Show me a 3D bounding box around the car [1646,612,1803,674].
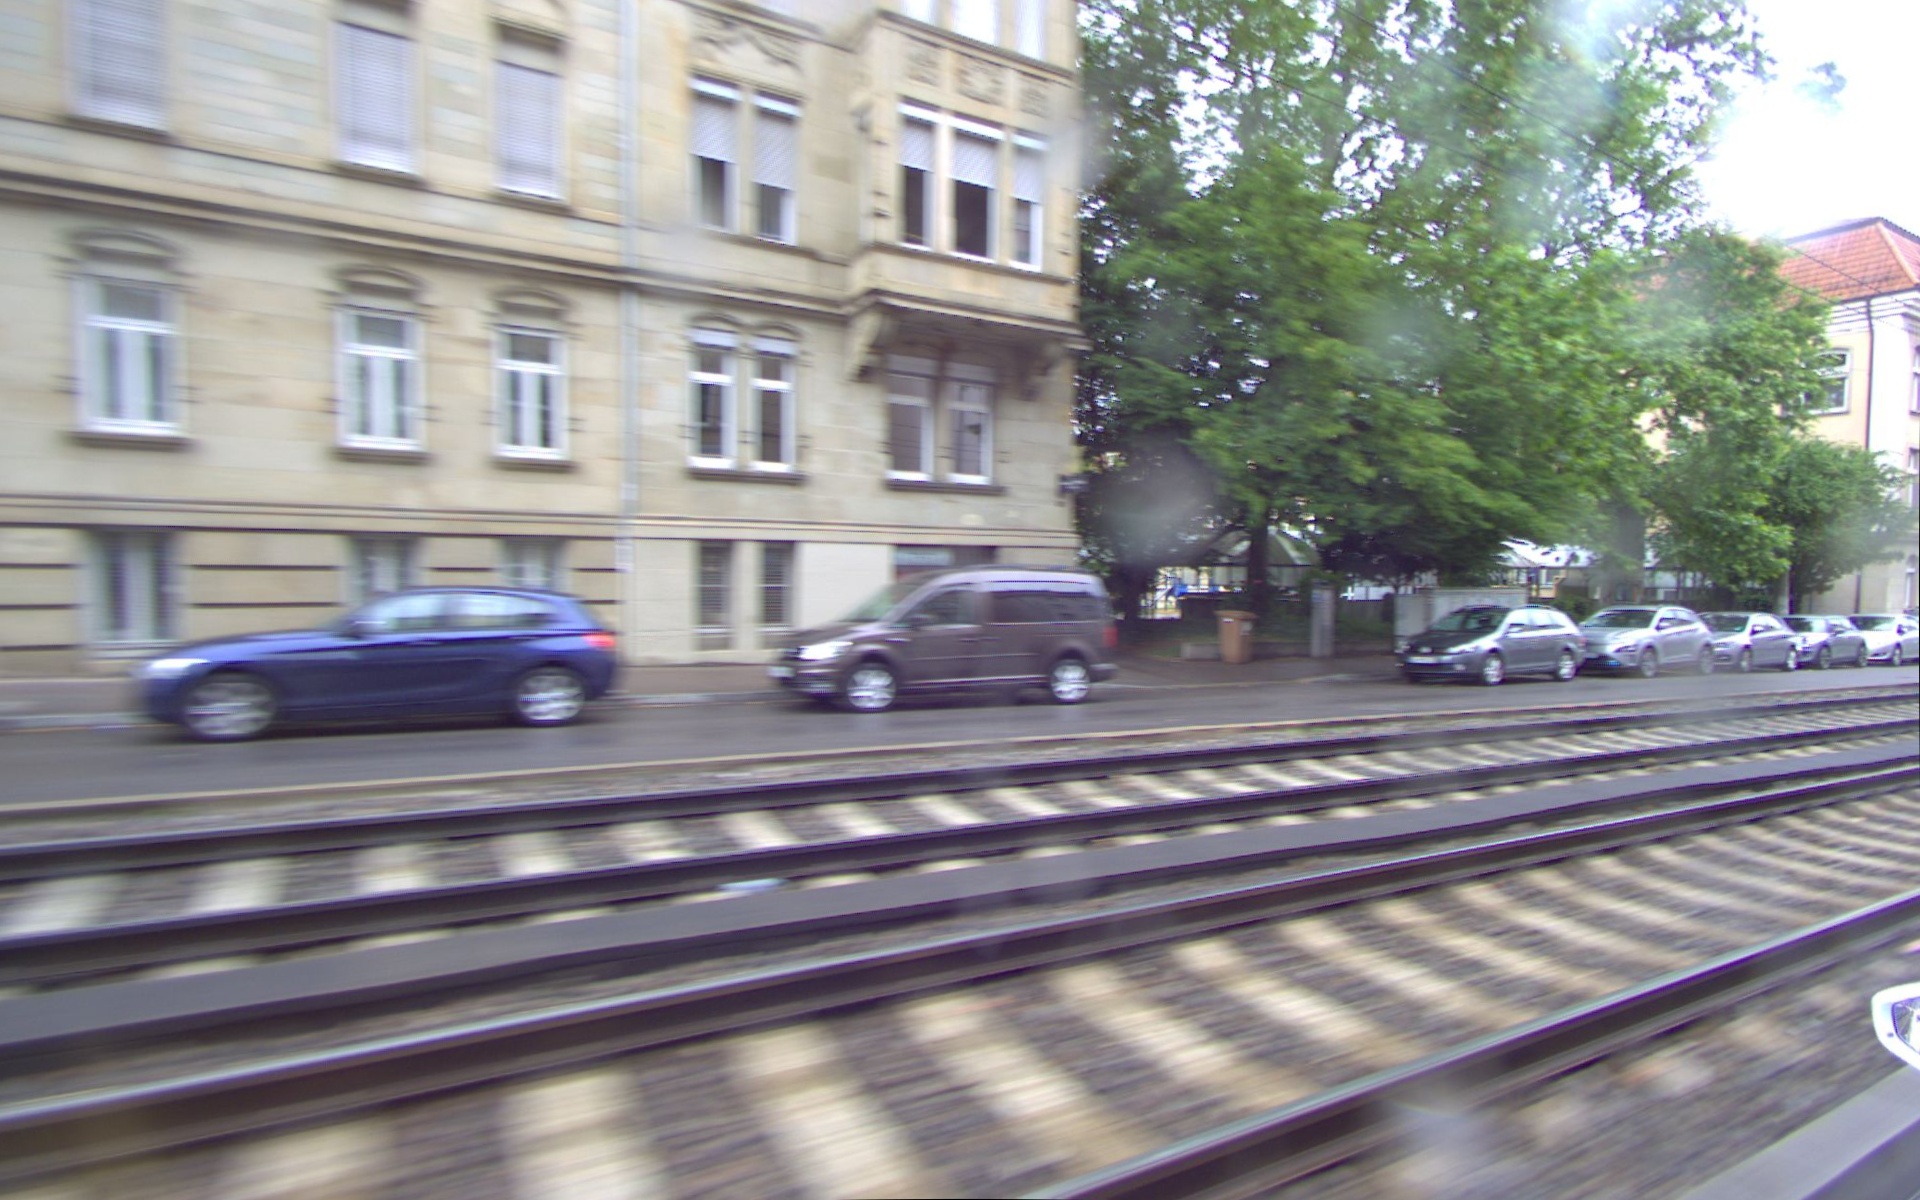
[{"bbox_3d":[19.057,1.051,25.003,4.106,1.432,1.745,1,-2,-31],"label":"car"}]

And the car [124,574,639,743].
[{"bbox_3d":[-5.655,0.530,10.293,4.222,1.416,1.753,1,-1,-32],"label":"car"}]

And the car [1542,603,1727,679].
[{"bbox_3d":[15.156,0.897,22.517,4.491,1.556,1.745,1,-2,-31],"label":"car"}]

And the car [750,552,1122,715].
[{"bbox_3d":[-0.238,0.429,13.523,4.762,1.871,1.792,1,-1,-31],"label":"car"}]

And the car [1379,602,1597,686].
[{"bbox_3d":[10.427,0.843,19.751,4.500,1.483,1.839,1,-2,-32],"label":"car"}]

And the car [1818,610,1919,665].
[{"bbox_3d":[27.410,1.104,29.983,4.107,1.525,1.531,1,-1,-31],"label":"car"}]

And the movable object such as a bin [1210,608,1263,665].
[{"bbox_3d":[5.763,0.756,20.983,0.763,1.135,0.714,1,1,-28],"label":"movable object such as a bin"}]

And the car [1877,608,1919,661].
[{"bbox_3d":[31.345,1.113,32.381,4.025,1.665,1.568,1,-1,-31],"label":"car"}]

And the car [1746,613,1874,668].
[{"bbox_3d":[23.318,1.093,27.526,3.908,1.432,1.531,1,-1,-31],"label":"car"}]
